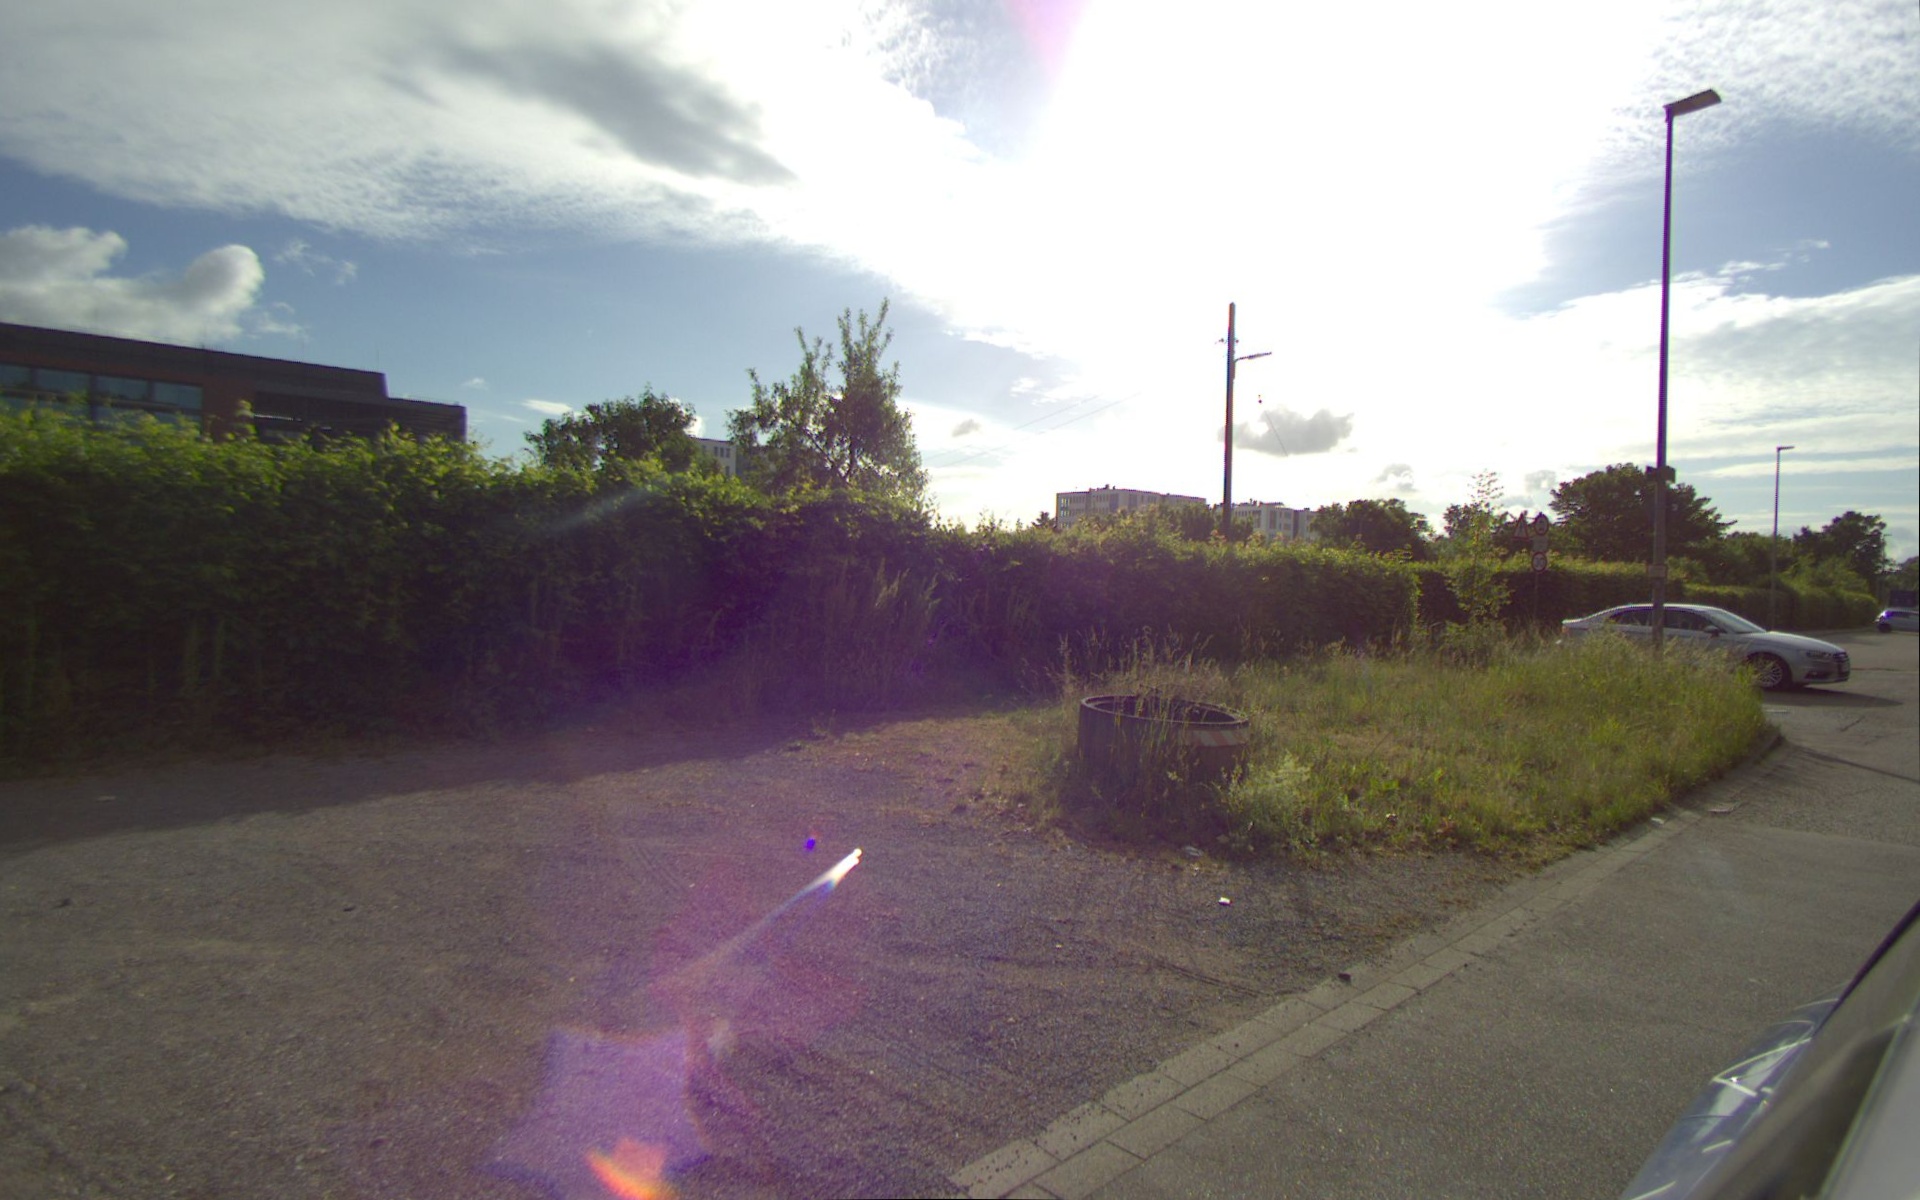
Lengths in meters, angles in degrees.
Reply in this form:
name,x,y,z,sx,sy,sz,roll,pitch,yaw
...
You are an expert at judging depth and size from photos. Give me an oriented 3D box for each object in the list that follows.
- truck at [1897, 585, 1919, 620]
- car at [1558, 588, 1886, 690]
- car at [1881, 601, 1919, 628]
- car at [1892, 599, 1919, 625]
name,x,y,z,sx,sy,sz,roll,pitch,yaw
truck,114.010,0.382,120.732,2.593,4.006,6.194,6,3,39
car,13.650,0.602,18.404,1.896,1.461,4.377,0,2,-35
car,59.913,0.980,62.814,1.663,1.508,3.864,3,3,-43
car,67.648,0.895,69.938,1.733,1.720,4.596,1,2,-42
